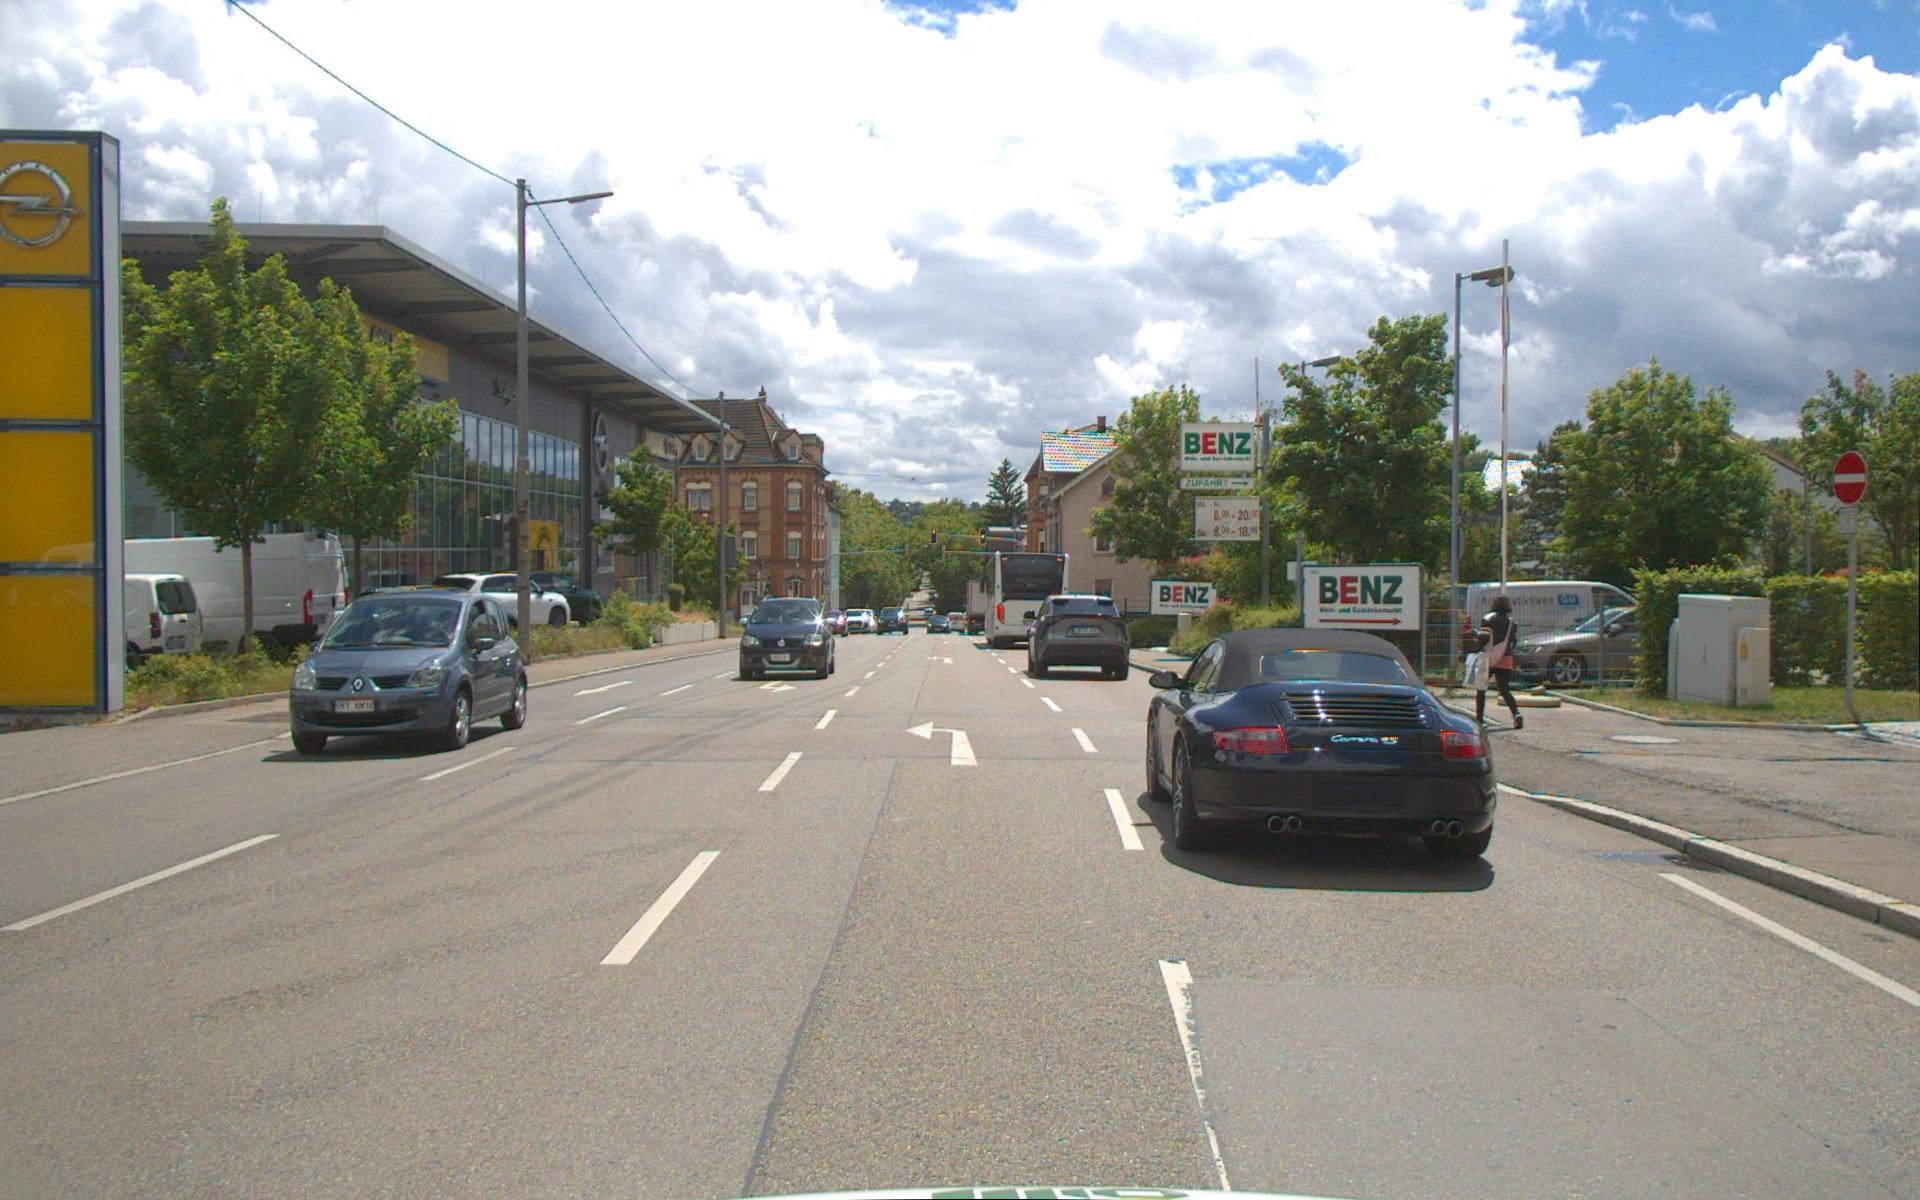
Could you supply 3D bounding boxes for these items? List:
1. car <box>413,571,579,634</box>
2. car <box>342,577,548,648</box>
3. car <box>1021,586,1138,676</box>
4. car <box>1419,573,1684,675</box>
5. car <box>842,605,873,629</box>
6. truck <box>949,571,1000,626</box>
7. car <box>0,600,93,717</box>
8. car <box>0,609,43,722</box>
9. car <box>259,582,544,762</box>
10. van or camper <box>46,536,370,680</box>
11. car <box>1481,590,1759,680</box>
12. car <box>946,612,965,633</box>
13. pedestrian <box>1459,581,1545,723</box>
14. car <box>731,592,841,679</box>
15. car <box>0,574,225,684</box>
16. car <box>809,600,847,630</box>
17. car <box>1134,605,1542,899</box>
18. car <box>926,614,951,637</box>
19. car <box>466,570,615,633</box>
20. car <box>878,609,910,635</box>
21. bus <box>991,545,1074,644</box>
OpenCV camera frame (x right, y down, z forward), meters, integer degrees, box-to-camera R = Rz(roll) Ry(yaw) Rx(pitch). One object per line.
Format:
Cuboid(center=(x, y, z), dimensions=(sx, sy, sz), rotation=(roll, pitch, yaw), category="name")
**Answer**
Cuboid(center=(-12.384, 0.082, 44.448), dimensions=(1.891, 1.600, 4.552), rotation=(0, 0, 23), category="car")
Cuboid(center=(-12.141, 0.249, 39.341), dimensions=(1.858, 1.476, 4.827), rotation=(1, 2, 27), category="car")
Cuboid(center=(2.328, 0.569, 33.335), dimensions=(1.892, 1.610, 4.207), rotation=(0, 2, -2), category="car")
Cuboid(center=(11.978, 0.475, 33.633), dimensions=(4.619, 1.881, 2.085), rotation=(-1, 0, -8), category="car")
Cuboid(center=(-6.816, 1.114, 110.718), dimensions=(1.826, 1.567, 4.106), rotation=(0, 0, 0), category="car")
Cuboid(center=(0.833, -0.069, 100.721), dimensions=(2.613, 3.162, 9.030), rotation=(-1, 0, -2), category="truck")
Cuboid(center=(-14.749, 0.783, 23.387), dimensions=(3.904, 1.517, 2.001), rotation=(0, 2, 2), category="car")
Cuboid(center=(-14.222, 0.832, 21.105), dimensions=(3.906, 1.434, 1.999), rotation=(0, -1, -2), category="car")
Cuboid(center=(-5.804, 0.660, 17.705), dimensions=(1.708, 1.623, 4.041), rotation=(-2, 1, -2), category="car")
Cuboid(center=(-13.852, 0.106, 30.729), dimensions=(4.925, 2.574, 2.318), rotation=(0, 2, -1), category="van or camper")
Cuboid(center=(12.216, 0.641, 30.808), dimensions=(4.342, 1.507, 1.999), rotation=(-1, -1, -1), category="car")
Cuboid(center=(-0.437, 2.223, 164.950), dimensions=(1.795, 1.914, 3.999), rotation=(-1, 1, -2), category="car")
Cuboid(center=(6.088, 0.567, 18.620), dimensions=(0.673, 1.563, 0.856), rotation=(0, 1, -1), category="pedestrian")
Cuboid(center=(-3.296, 0.642, 31.951), dimensions=(1.792, 1.535, 4.275), rotation=(-1, 0, -2), category="car")
Cuboid(center=(-14.903, 0.450, 28.115), dimensions=(3.903, 1.735, 2.002), rotation=(0, 2, 5), category="car")
Cuboid(center=(-7.099, 0.800, 89.154), dimensions=(1.834, 1.517, 3.846), rotation=(-3, 0, -3), category="car")
Cuboid(center=(2.227, 0.814, 10.912), dimensions=(1.890, 1.400, 4.210), rotation=(0, 2, 2), category="car")
Cuboid(center=(-1.649, 1.905, 126.188), dimensions=(1.826, 1.695, 4.258), rotation=(0, 0, -1), category="car")
Cuboid(center=(-12.476, 0.006, 49.454), dimensions=(1.954, 1.728, 4.482), rotation=(1, 2, 25), category="car")
Cuboid(center=(-3.976, 1.321, 99.760), dimensions=(1.826, 1.567, 4.105), rotation=(0, 0, -1), category="car")
Cuboid(center=(2.531, -0.384, 60.842), dimensions=(2.744, 3.253, 12.199), rotation=(0, 2, 1), category="bus")
